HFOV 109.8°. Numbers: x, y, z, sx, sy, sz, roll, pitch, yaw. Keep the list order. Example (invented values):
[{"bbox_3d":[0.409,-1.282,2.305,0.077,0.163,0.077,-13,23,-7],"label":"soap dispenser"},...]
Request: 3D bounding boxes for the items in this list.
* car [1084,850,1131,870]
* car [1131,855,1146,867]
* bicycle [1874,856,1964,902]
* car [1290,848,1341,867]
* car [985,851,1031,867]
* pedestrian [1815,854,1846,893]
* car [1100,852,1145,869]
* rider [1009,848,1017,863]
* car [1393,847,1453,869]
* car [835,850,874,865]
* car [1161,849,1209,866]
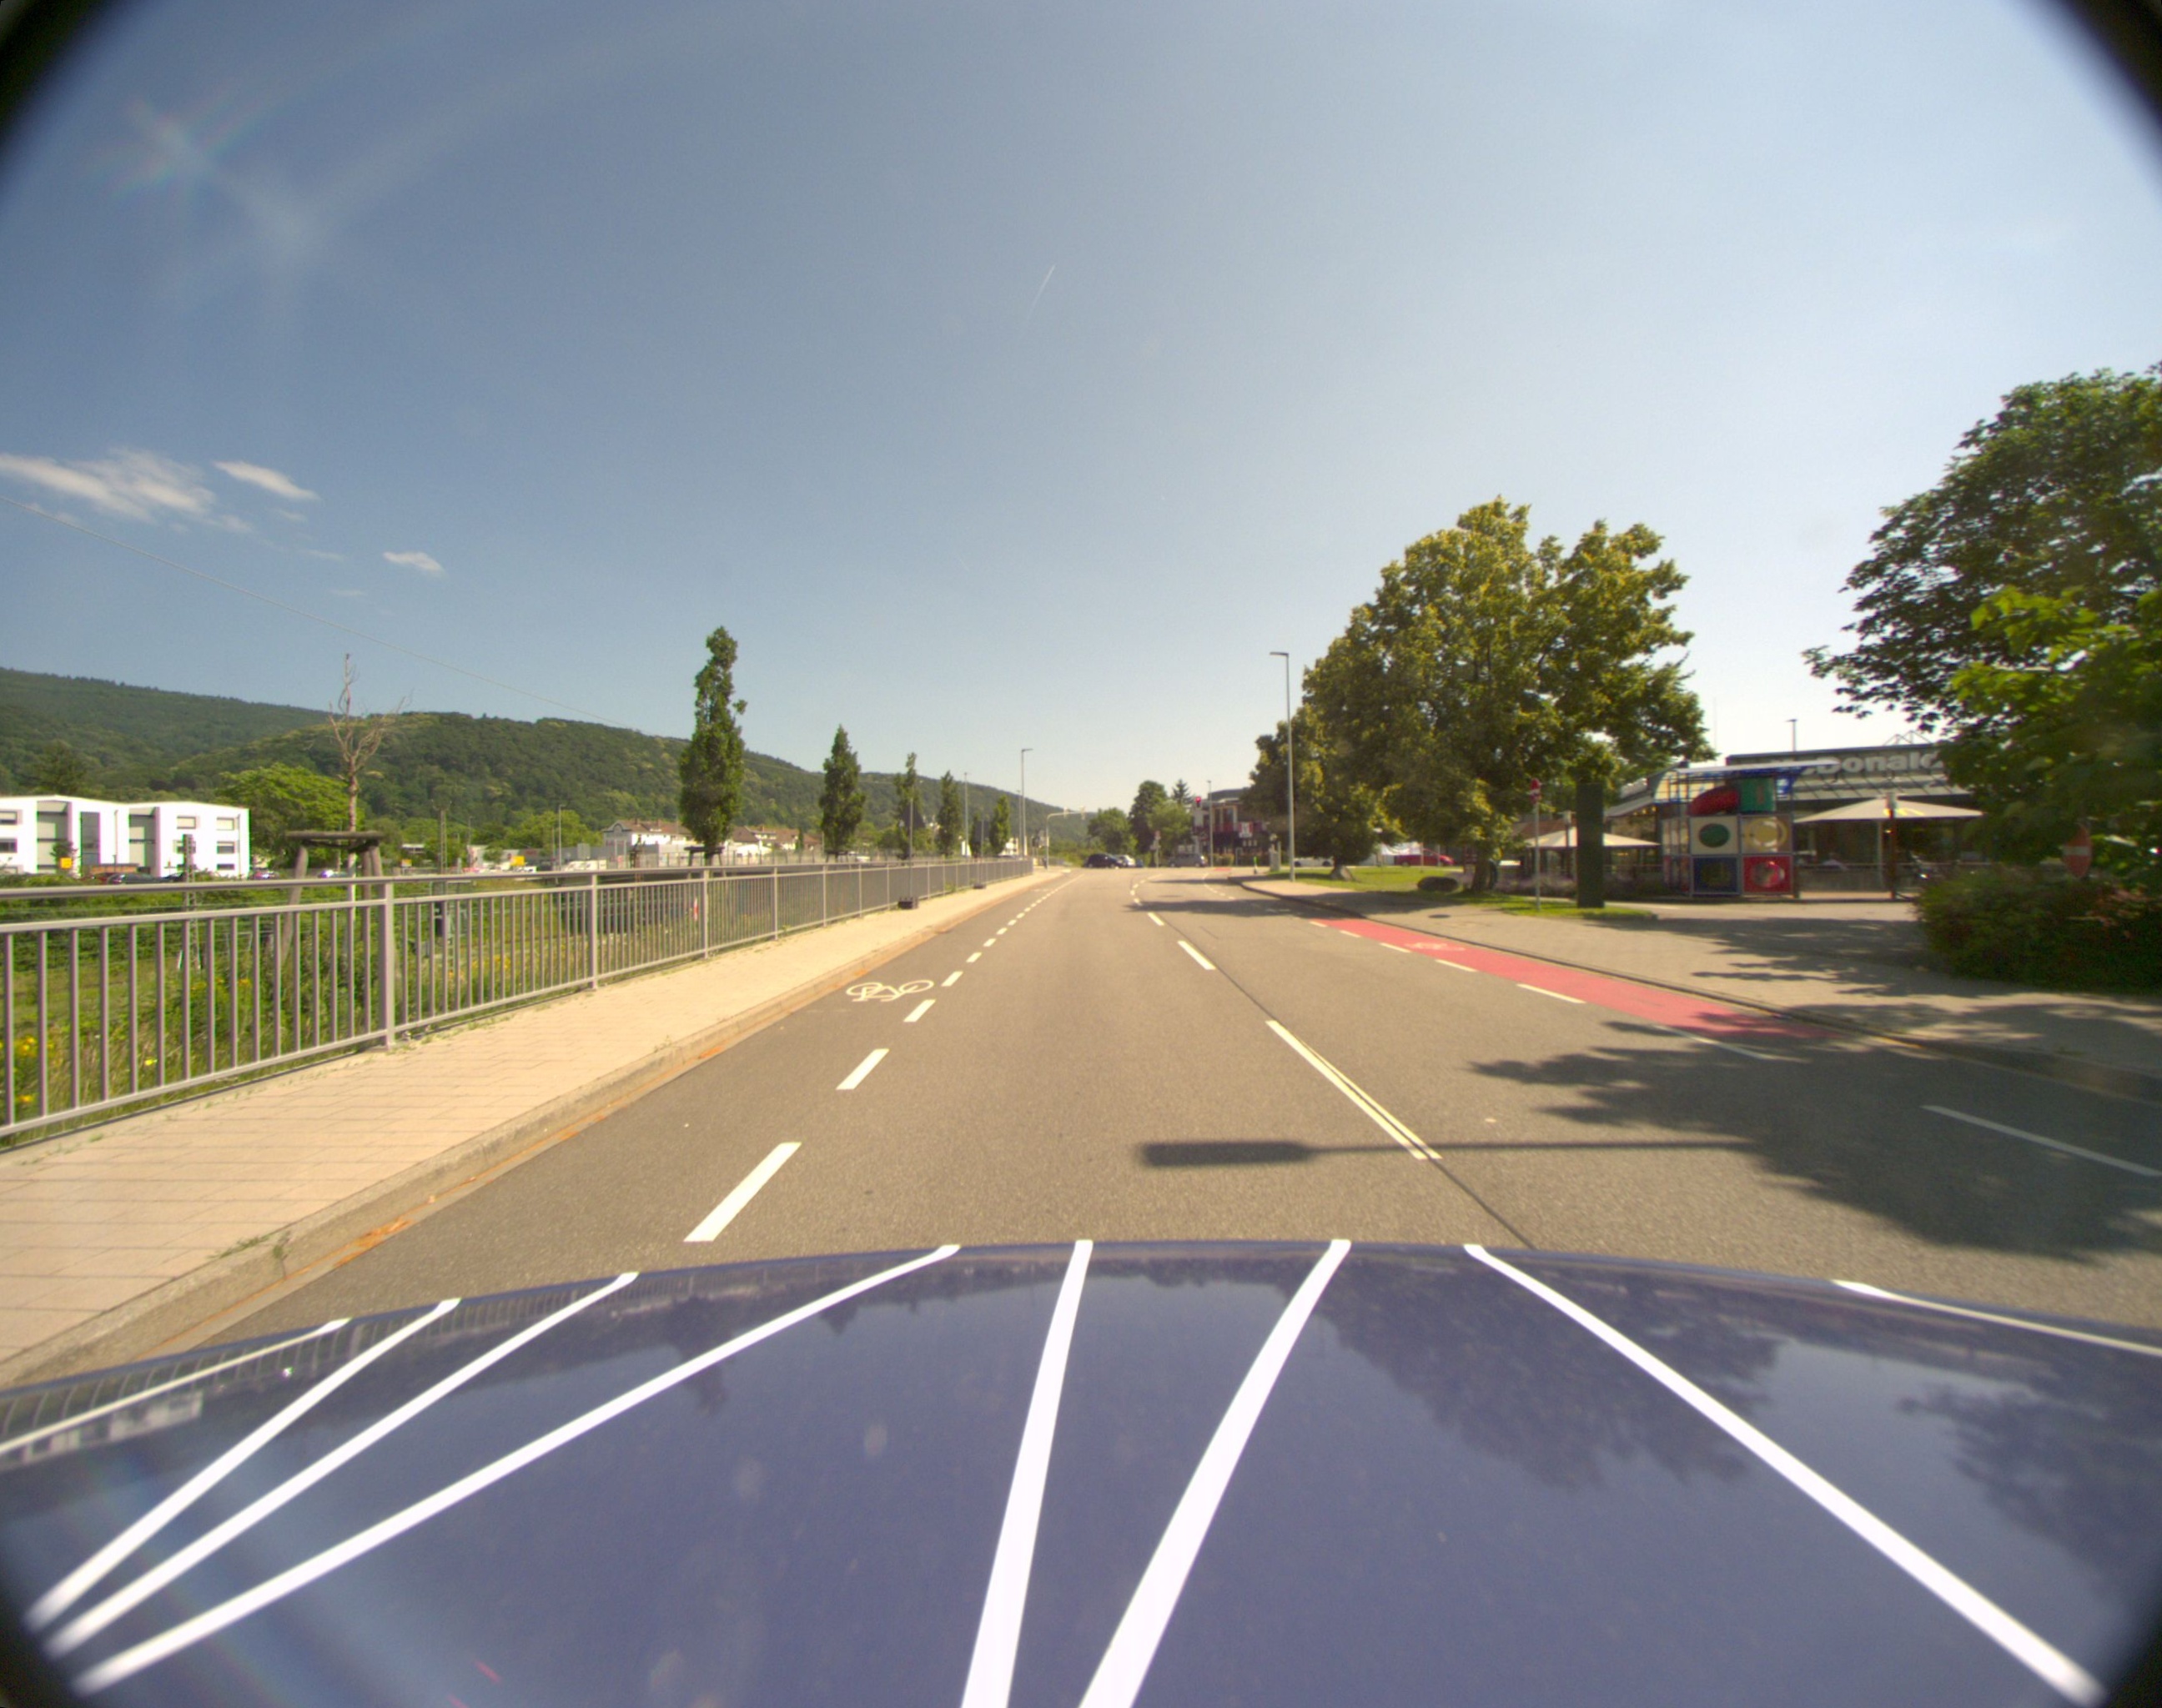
[{"bbox_3d":[2.662,0.599,76.412,4.359,1.839,1.834,-1,4,29],"label":"car"},{"bbox_3d":[7.747,0.885,102.601,1.610,1.527,3.682,-1,0,-2],"label":"car"},{"bbox_3d":[22.857,0.695,20.756,1.608,1.180,0.310,-3,2,30],"label":"bicycle"},{"bbox_3d":[22.115,0.367,71.623,4.359,1.618,1.834,-1,4,27],"label":"car"},{"bbox_3d":[-7.940,0.534,82.236,4.755,1.643,1.834,-1,4,31],"label":"car"},{"bbox_3d":[25.231,0.653,25.580,0.551,1.203,0.593,-6,1,33],"label":"pedestrian"},{"bbox_3d":[4.359,0.720,80.712,4.359,1.618,1.834,-1,4,27],"label":"car"},{"bbox_3d":[-8.104,0.156,90.222,0.684,1.804,0.548,-1,4,27],"label":"rider"},{"bbox_3d":[27.652,0.333,61.533,4.359,1.670,1.834,-1,4,26],"label":"car"},{"bbox_3d":[-27.247,0.454,91.441,4.569,1.643,1.834,-1,4,30],"label":"car"},{"bbox_3d":[10.564,0.383,77.265,4.359,1.618,1.834,-1,4,27],"label":"car"}]
